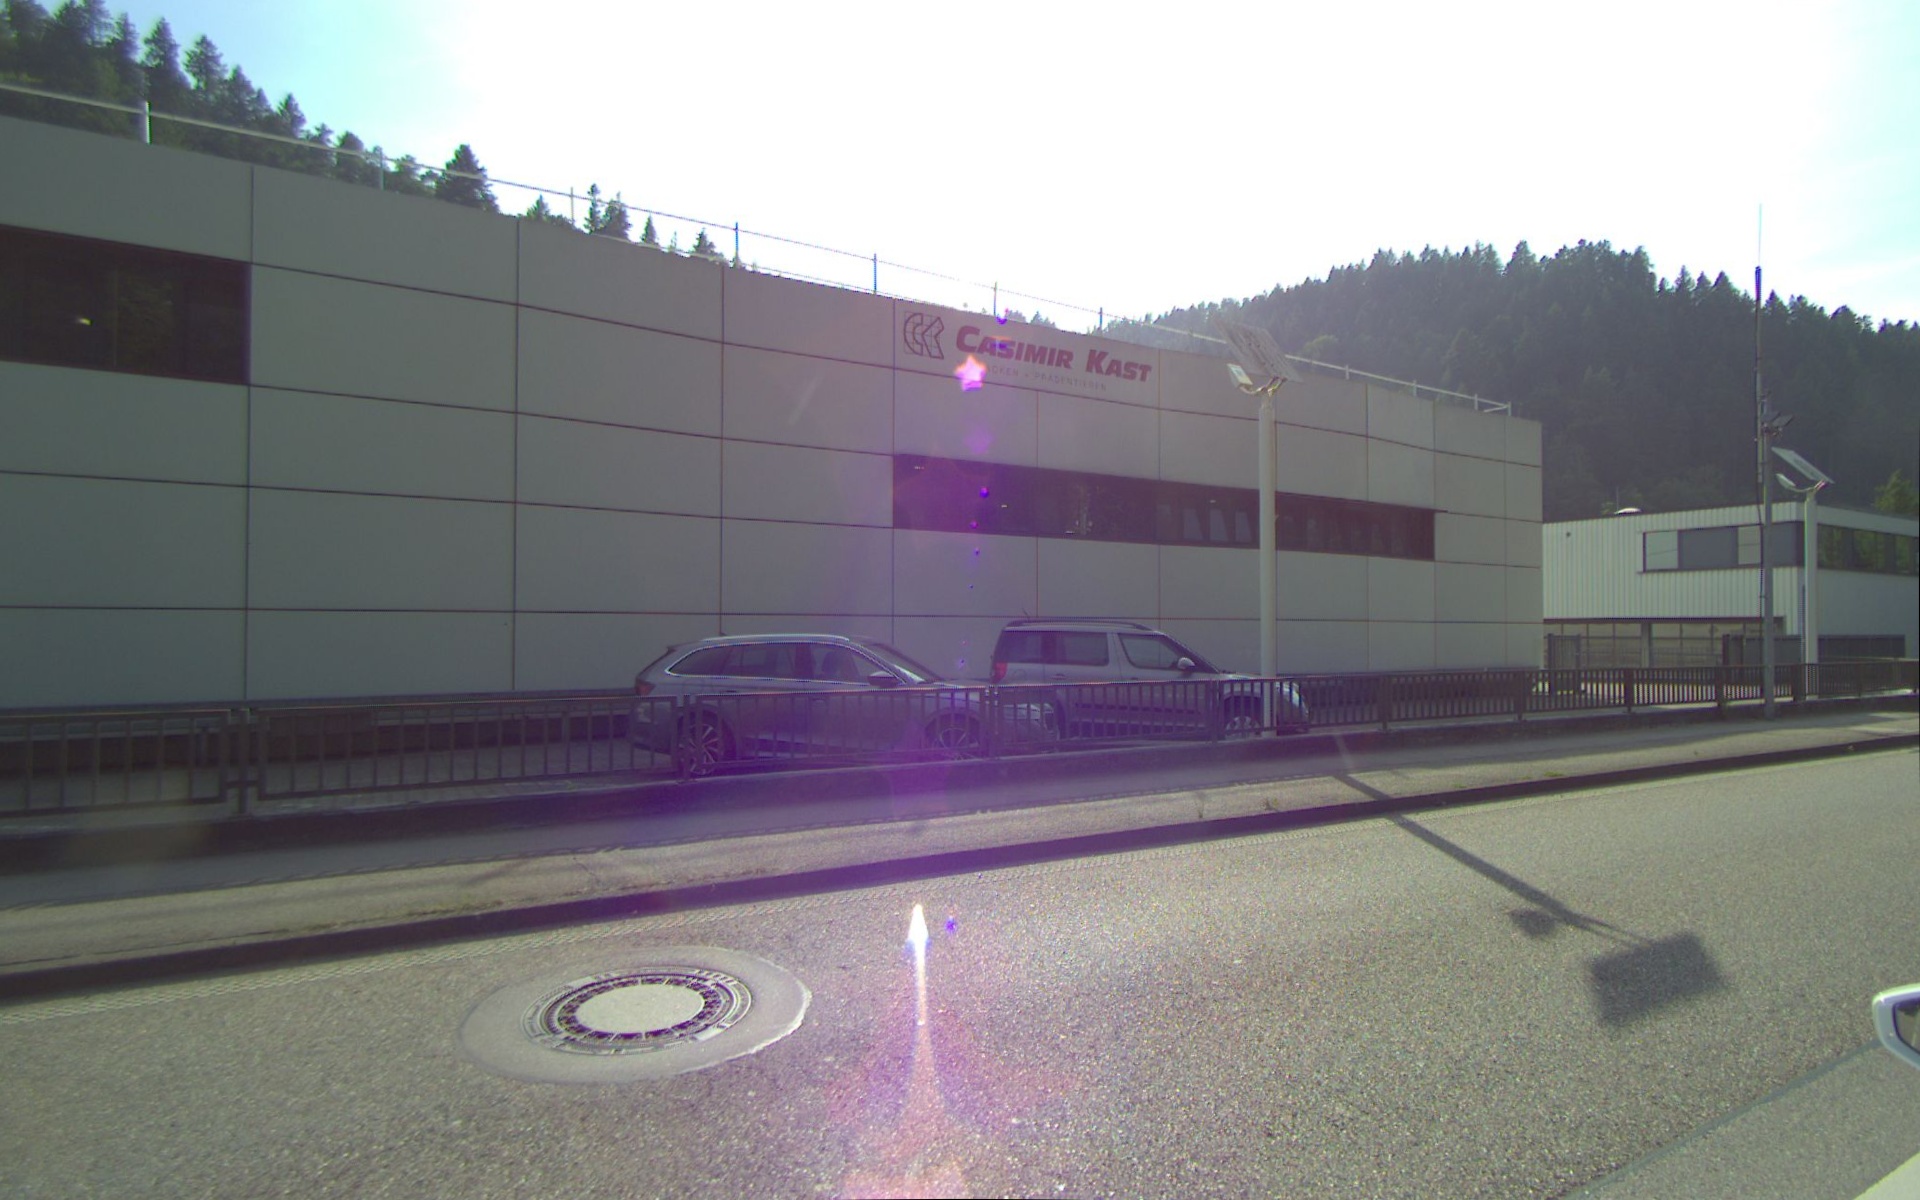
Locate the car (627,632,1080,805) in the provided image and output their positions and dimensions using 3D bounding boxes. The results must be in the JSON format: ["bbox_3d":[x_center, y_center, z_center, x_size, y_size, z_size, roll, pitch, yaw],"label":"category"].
[{"bbox_3d":[-1.018,1.134,10.651,4.397,1.514,1.890,1,-1,12],"label":"car"}]

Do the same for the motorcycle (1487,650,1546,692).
[{"bbox_3d":[15.947,2.019,28.763,2.064,1.168,0.510,2,-1,-30],"label":"motorcycle"}]

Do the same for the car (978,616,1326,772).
[{"bbox_3d":[2.389,1.104,12.784,4.027,1.731,1.783,1,-1,12],"label":"car"}]
